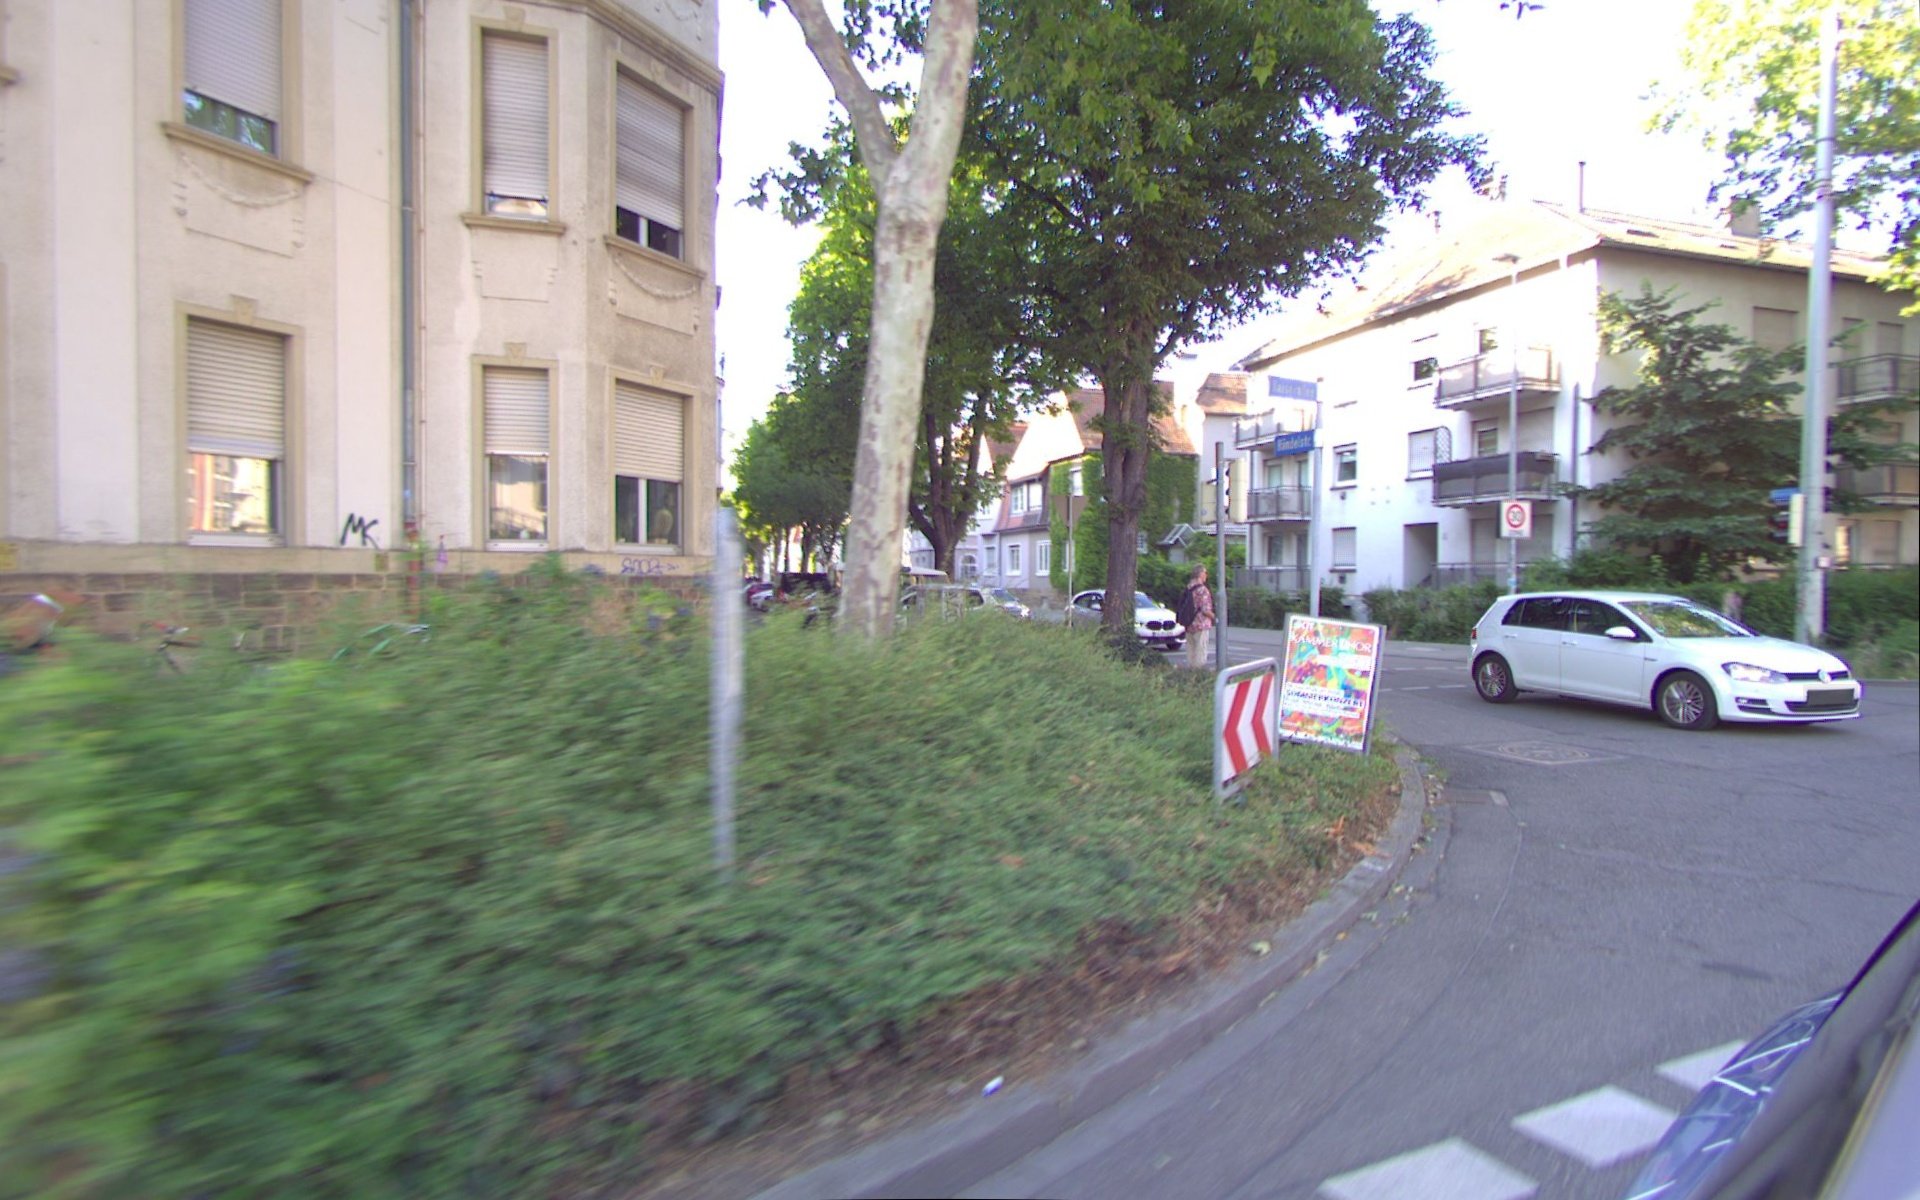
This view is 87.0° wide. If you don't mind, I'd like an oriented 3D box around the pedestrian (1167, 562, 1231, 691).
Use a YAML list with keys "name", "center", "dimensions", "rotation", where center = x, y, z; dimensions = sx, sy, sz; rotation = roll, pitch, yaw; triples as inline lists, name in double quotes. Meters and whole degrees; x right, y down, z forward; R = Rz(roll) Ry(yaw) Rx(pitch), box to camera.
- name: "pedestrian"
  center: [3.488, 0.370, 14.814]
  dimensions: [0.688, 1.829, 0.667]
  rotation: [-1, 1, -10]

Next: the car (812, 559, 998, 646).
- name: "car"
  center: [-1.419, 0.038, 25.384]
  dimensions: [4.341, 2.008, 1.764]
  rotation: [0, 4, -16]

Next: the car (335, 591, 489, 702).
- name: "car"
  center: [-5.571, 0.438, 10.324]
  dimensions: [0.919, 0.959, 1.054]
  rotation: [5, 4, 29]

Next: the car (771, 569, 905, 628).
- name: "car"
  center: [-4.520, -0.100, 37.351]
  dimensions: [4.614, 2.038, 2.005]
  rotation: [-1, 2, -17]

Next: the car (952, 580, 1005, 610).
- name: "car"
  center: [0.923, -0.275, 53.479]
  dimensions: [1.658, 1.472, 4.009]
  rotation: [-2, 1, -16]

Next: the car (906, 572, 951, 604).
- name: "car"
  center: [-2.034, -0.806, 64.400]
  dimensions: [1.784, 1.929, 4.298]
  rotation: [-2, 1, -16]

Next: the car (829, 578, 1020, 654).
- name: "car"
  center: [-0.810, 0.337, 22.664]
  dimensions: [3.963, 1.595, 1.688]
  rotation: [0, 0, -17]

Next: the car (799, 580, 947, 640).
- name: "car"
  center: [-2.671, 0.254, 30.843]
  dimensions: [4.123, 1.648, 1.978]
  rotation: [-1, 2, -17]

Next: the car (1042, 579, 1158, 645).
- name: "car"
  center: [3.620, 0.242, 26.817]
  dimensions: [1.745, 1.544, 4.065]
  rotation: [-1, 2, -12]

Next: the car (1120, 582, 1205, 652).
- name: "car"
  center: [4.965, 0.361, 25.243]
  dimensions: [1.813, 1.536, 4.014]
  rotation: [-1, 2, 8]

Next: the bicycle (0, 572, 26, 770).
- name: "bicycle"
  center: [-7.400, 0.521, 6.591]
  dimensions: [0.367, 1.412, 1.912]
  rotation: [1, 1, 29]

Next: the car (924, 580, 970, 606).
- name: "car"
  center: [-0.805, -0.438, 59.747]
  dimensions: [1.658, 1.472, 4.009]
  rotation: [-2, 1, -16]

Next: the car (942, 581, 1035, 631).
- name: "car"
  center: [0.880, 0.149, 34.837]
  dimensions: [1.806, 1.536, 4.764]
  rotation: [-1, 2, -16]

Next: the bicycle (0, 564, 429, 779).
- name: "bicycle"
  center: [-6.312, 0.453, 8.686]
  dimensions: [0.944, 1.490, 3.130]
  rotation: [0, 2, 26]

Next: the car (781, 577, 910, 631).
- name: "car"
  center: [-4.001, 0.101, 35.271]
  dimensions: [4.123, 1.708, 2.005]
  rotation: [-1, 2, -17]

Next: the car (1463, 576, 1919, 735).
- name: "car"
  center: [8.185, 0.478, 11.851]
  dimensions: [1.806, 1.468, 4.120]
  rotation: [-1, 2, -16]

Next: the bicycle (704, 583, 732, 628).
- name: "bicycle"
  center: [-7.421, 0.138, 31.155]
  dimensions: [0.746, 1.301, 2.208]
  rotation: [2, 1, -12]
